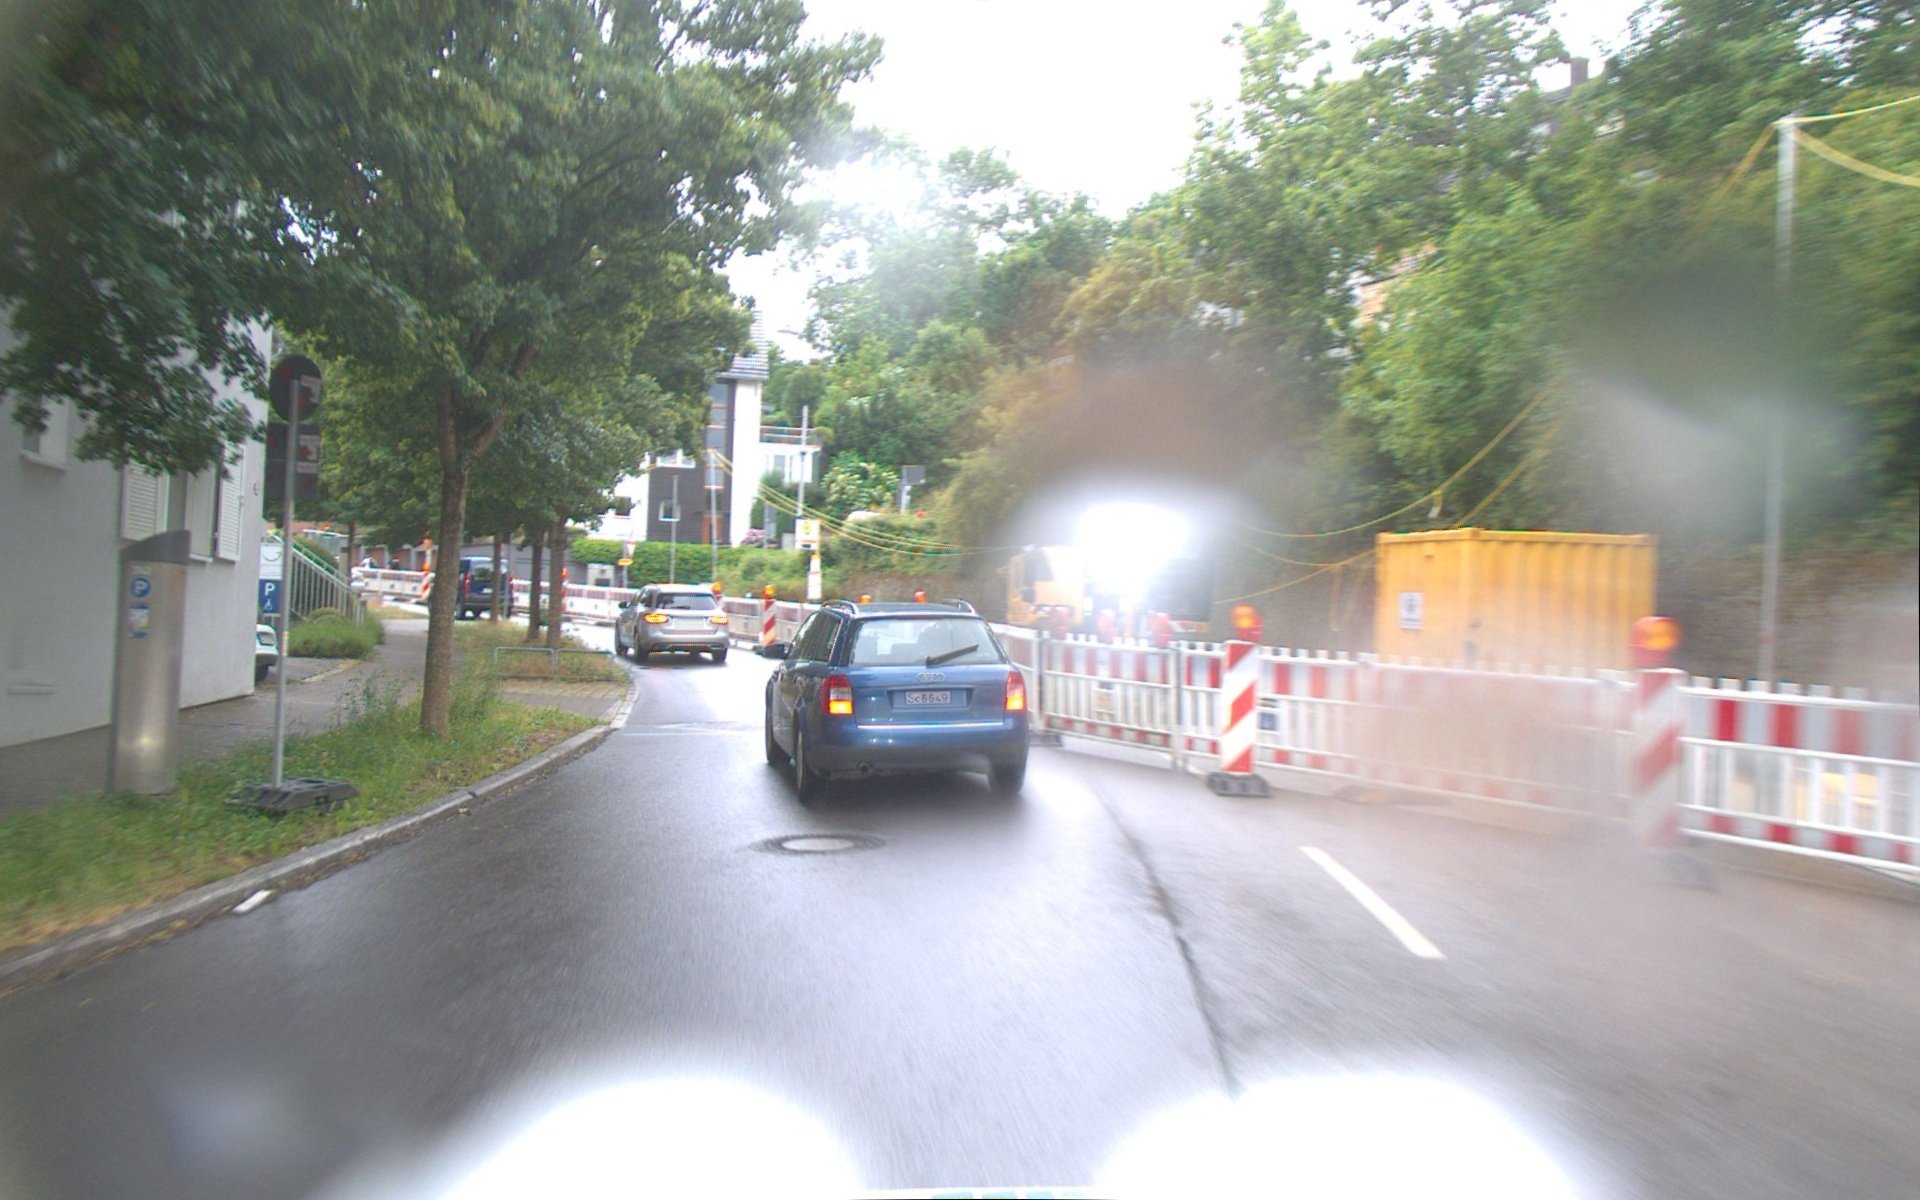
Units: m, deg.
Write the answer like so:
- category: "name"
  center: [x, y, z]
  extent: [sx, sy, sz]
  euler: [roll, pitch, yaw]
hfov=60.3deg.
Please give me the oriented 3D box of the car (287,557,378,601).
- category: "car"
  center: [-23.167, -0.751, 60.973]
  extent: [1.713, 1.512, 4.010]
  euler: [-1, 0, -44]

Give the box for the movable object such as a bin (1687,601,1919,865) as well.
- category: "movable object such as a bin"
  center: [6.767, 0.835, 11.016]
  extent: [1.953, 1.546, 3.999]
  euler: [1, 1, -2]

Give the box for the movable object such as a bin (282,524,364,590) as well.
- category: "movable object such as a bin"
  center: [-27.846, -1.899, 72.223]
  extent: [1.984, 2.658, 3.939]
  euler: [0, 4, -43]

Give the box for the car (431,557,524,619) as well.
- category: "car"
  center: [-14.832, -0.350, 50.730]
  extent: [1.971, 1.825, 3.962]
  euler: [-1, 0, -28]

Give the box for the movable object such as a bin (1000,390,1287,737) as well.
- category: "movable object such as a bin"
  center: [2.271, -0.468, 23.237]
  extent: [2.763, 4.084, 7.322]
  euler: [0, 1, -4]

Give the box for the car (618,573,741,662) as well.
- category: "car"
  center: [-5.663, 0.298, 33.022]
  extent: [1.896, 1.646, 4.300]
  euler: [0, 1, -17]

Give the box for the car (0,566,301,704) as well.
- category: "car"
  center: [-10.255, 0.402, 19.988]
  extent: [3.910, 1.588, 1.747]
  euler: [0, 0, -7]

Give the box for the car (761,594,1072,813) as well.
- category: "car"
  center: [-0.514, 0.712, 13.372]
  extent: [1.755, 1.467, 3.951]
  euler: [1, 0, -13]
